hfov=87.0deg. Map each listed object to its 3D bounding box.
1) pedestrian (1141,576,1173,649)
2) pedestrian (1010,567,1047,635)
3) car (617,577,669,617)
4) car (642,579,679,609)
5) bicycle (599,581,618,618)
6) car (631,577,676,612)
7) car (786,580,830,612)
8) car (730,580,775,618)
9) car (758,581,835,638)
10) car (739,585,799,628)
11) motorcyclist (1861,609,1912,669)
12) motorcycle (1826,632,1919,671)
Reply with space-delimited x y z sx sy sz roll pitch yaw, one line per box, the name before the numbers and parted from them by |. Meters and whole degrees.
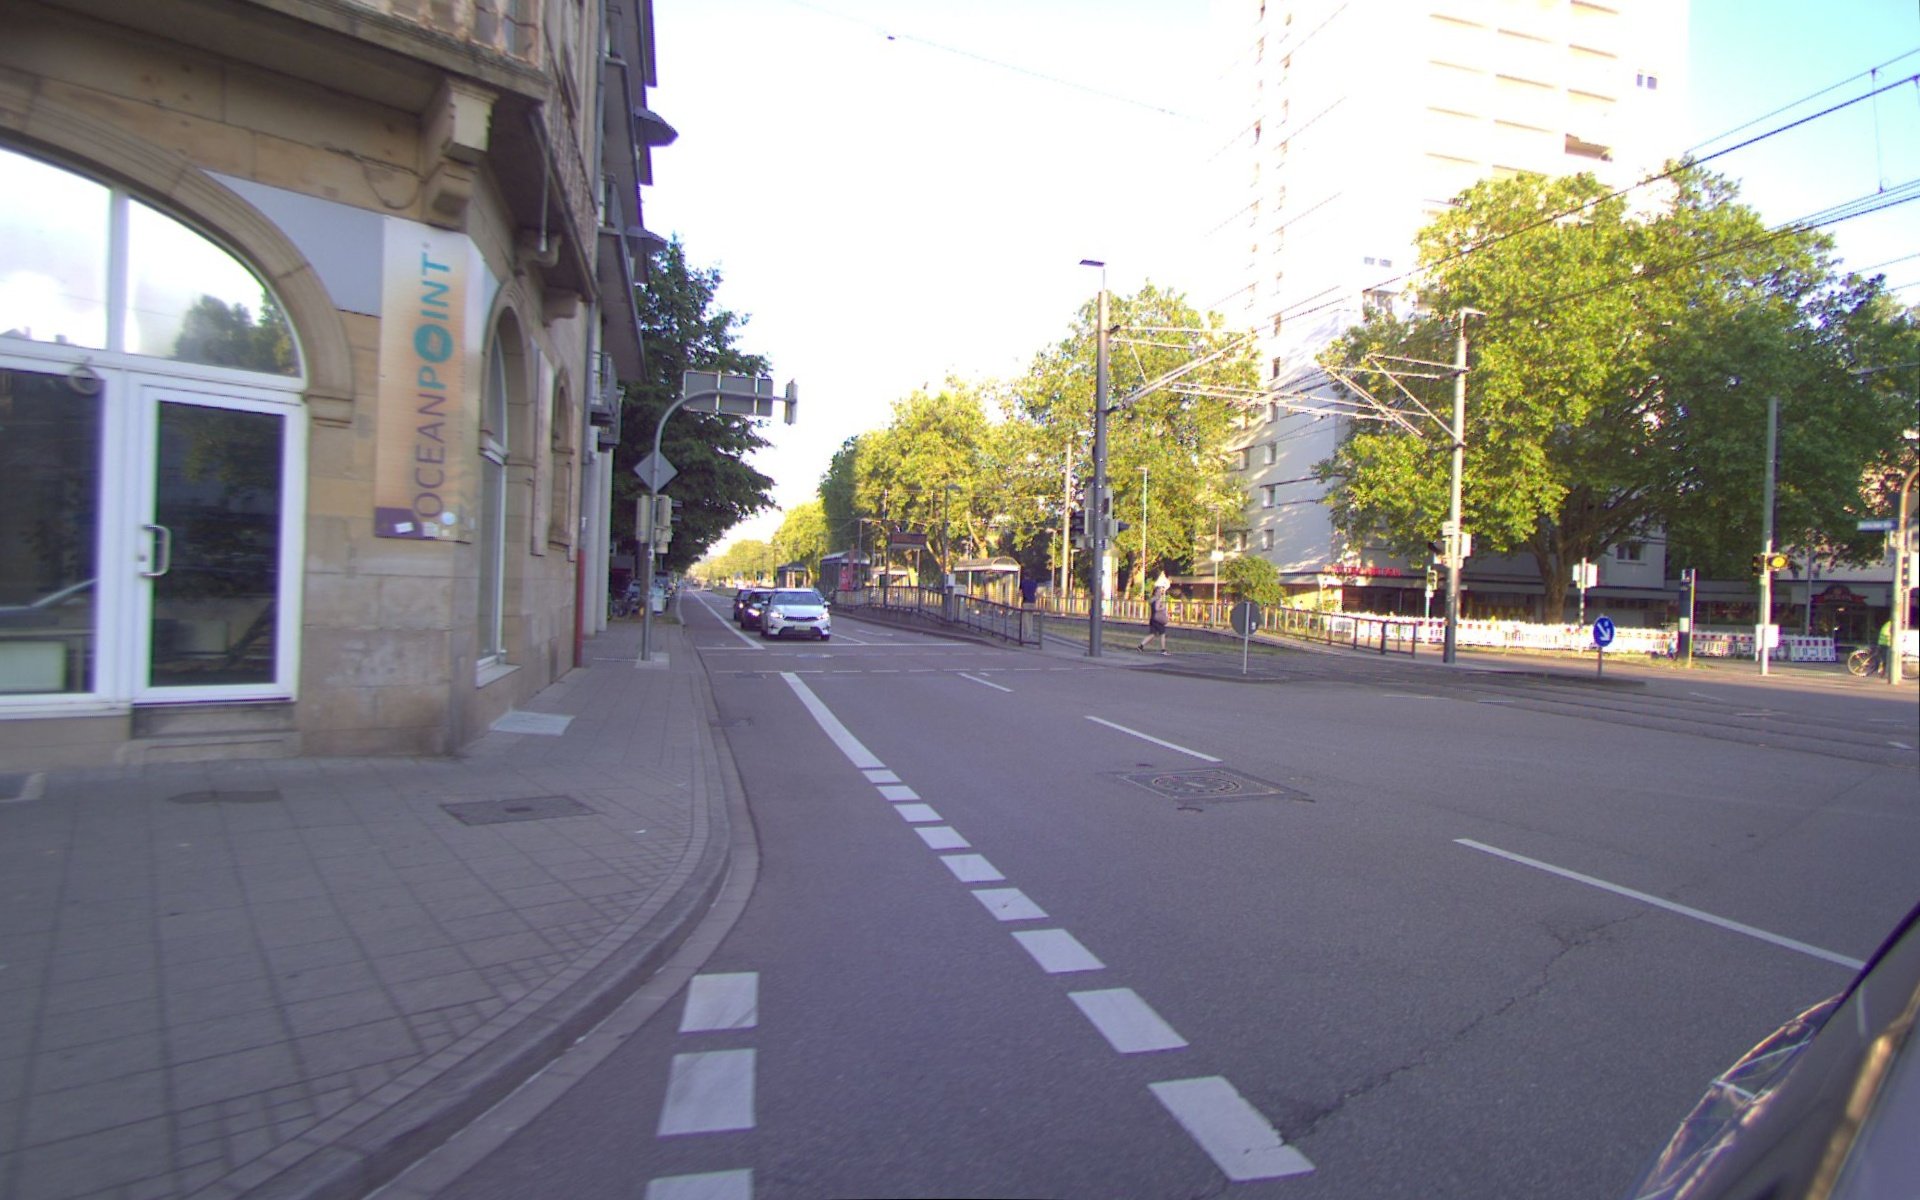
pedestrian | 4.663 0.293 23.911 0.652 1.677 0.540 2 0 16
pedestrian | 1.878 0.028 27.958 0.772 1.839 0.713 2 0 -16
car | -13.359 -0.146 42.871 1.824 1.566 4.009 2 1 -14
car | -16.828 -0.364 56.982 1.824 1.566 4.009 2 1 -14
bicycle | -12.528 -0.045 36.046 0.544 1.247 2.428 2 1 -21
car | -14.859 -0.302 49.211 1.824 1.566 4.009 2 1 -14
car | -7.936 -0.223 52.567 1.824 1.566 4.009 2 1 -14
car | -9.487 -0.075 46.073 1.824 1.566 4.009 2 1 -14
car | -4.799 0.236 29.210 1.879 1.482 4.063 2 1 -13
car | -6.888 0.182 36.293 1.824 1.389 4.009 2 1 -14
motorcyclist | 24.953 1.037 27.265 0.821 1.538 0.617 2 0 25
motorcycle | 24.912 1.391 27.269 2.261 0.934 0.617 2 0 25
